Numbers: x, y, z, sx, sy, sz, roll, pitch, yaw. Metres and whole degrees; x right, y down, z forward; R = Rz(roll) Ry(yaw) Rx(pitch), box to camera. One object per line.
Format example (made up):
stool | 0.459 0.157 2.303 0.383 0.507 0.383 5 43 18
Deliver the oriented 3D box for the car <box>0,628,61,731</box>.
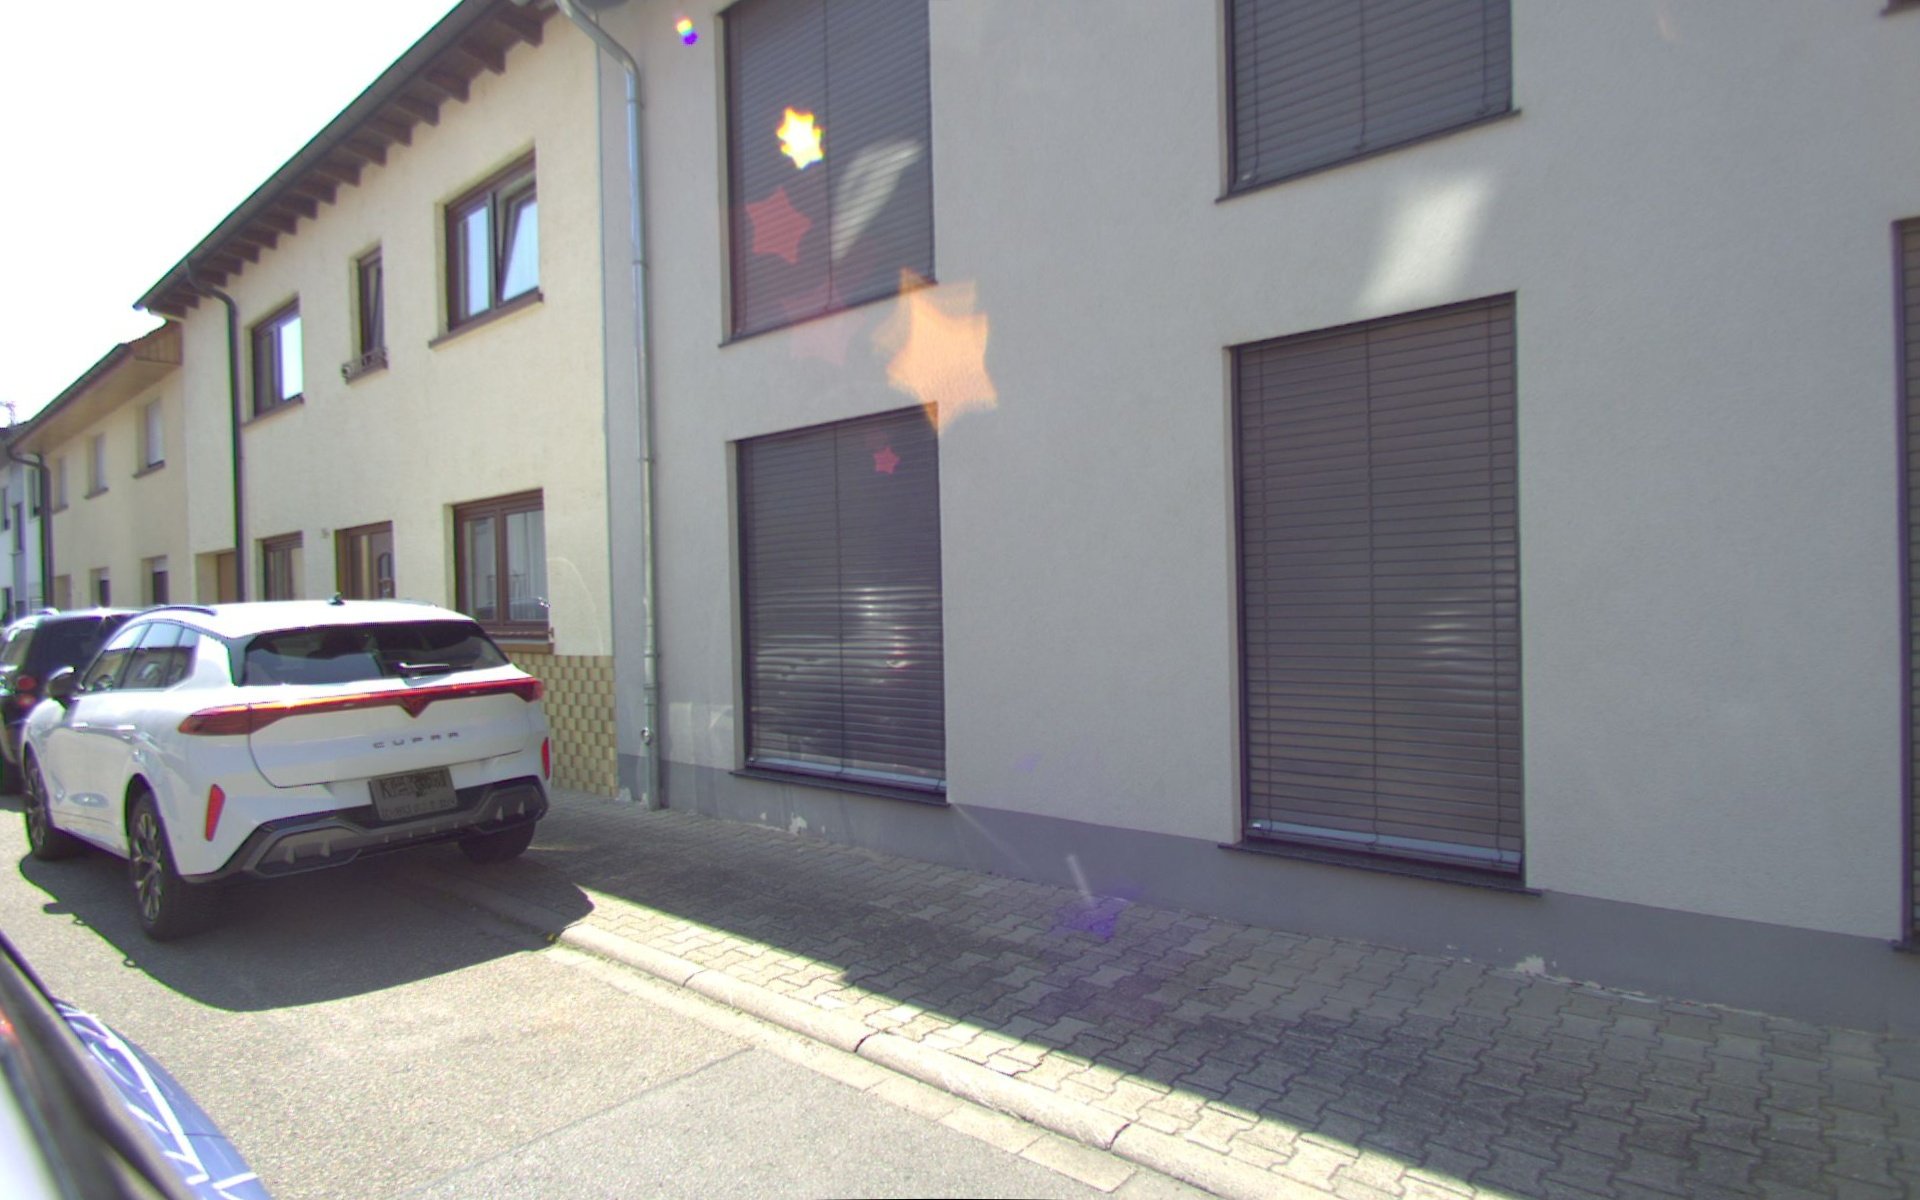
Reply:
car | -16.306 1.265 16.693 3.938 1.549 1.624 -1 -1 39

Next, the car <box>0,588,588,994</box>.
car | -4.249 0.807 6.108 4.343 1.627 1.757 -1 -1 38

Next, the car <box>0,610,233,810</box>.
car | -8.872 0.948 10.205 3.988 1.627 1.704 -2 -1 42
